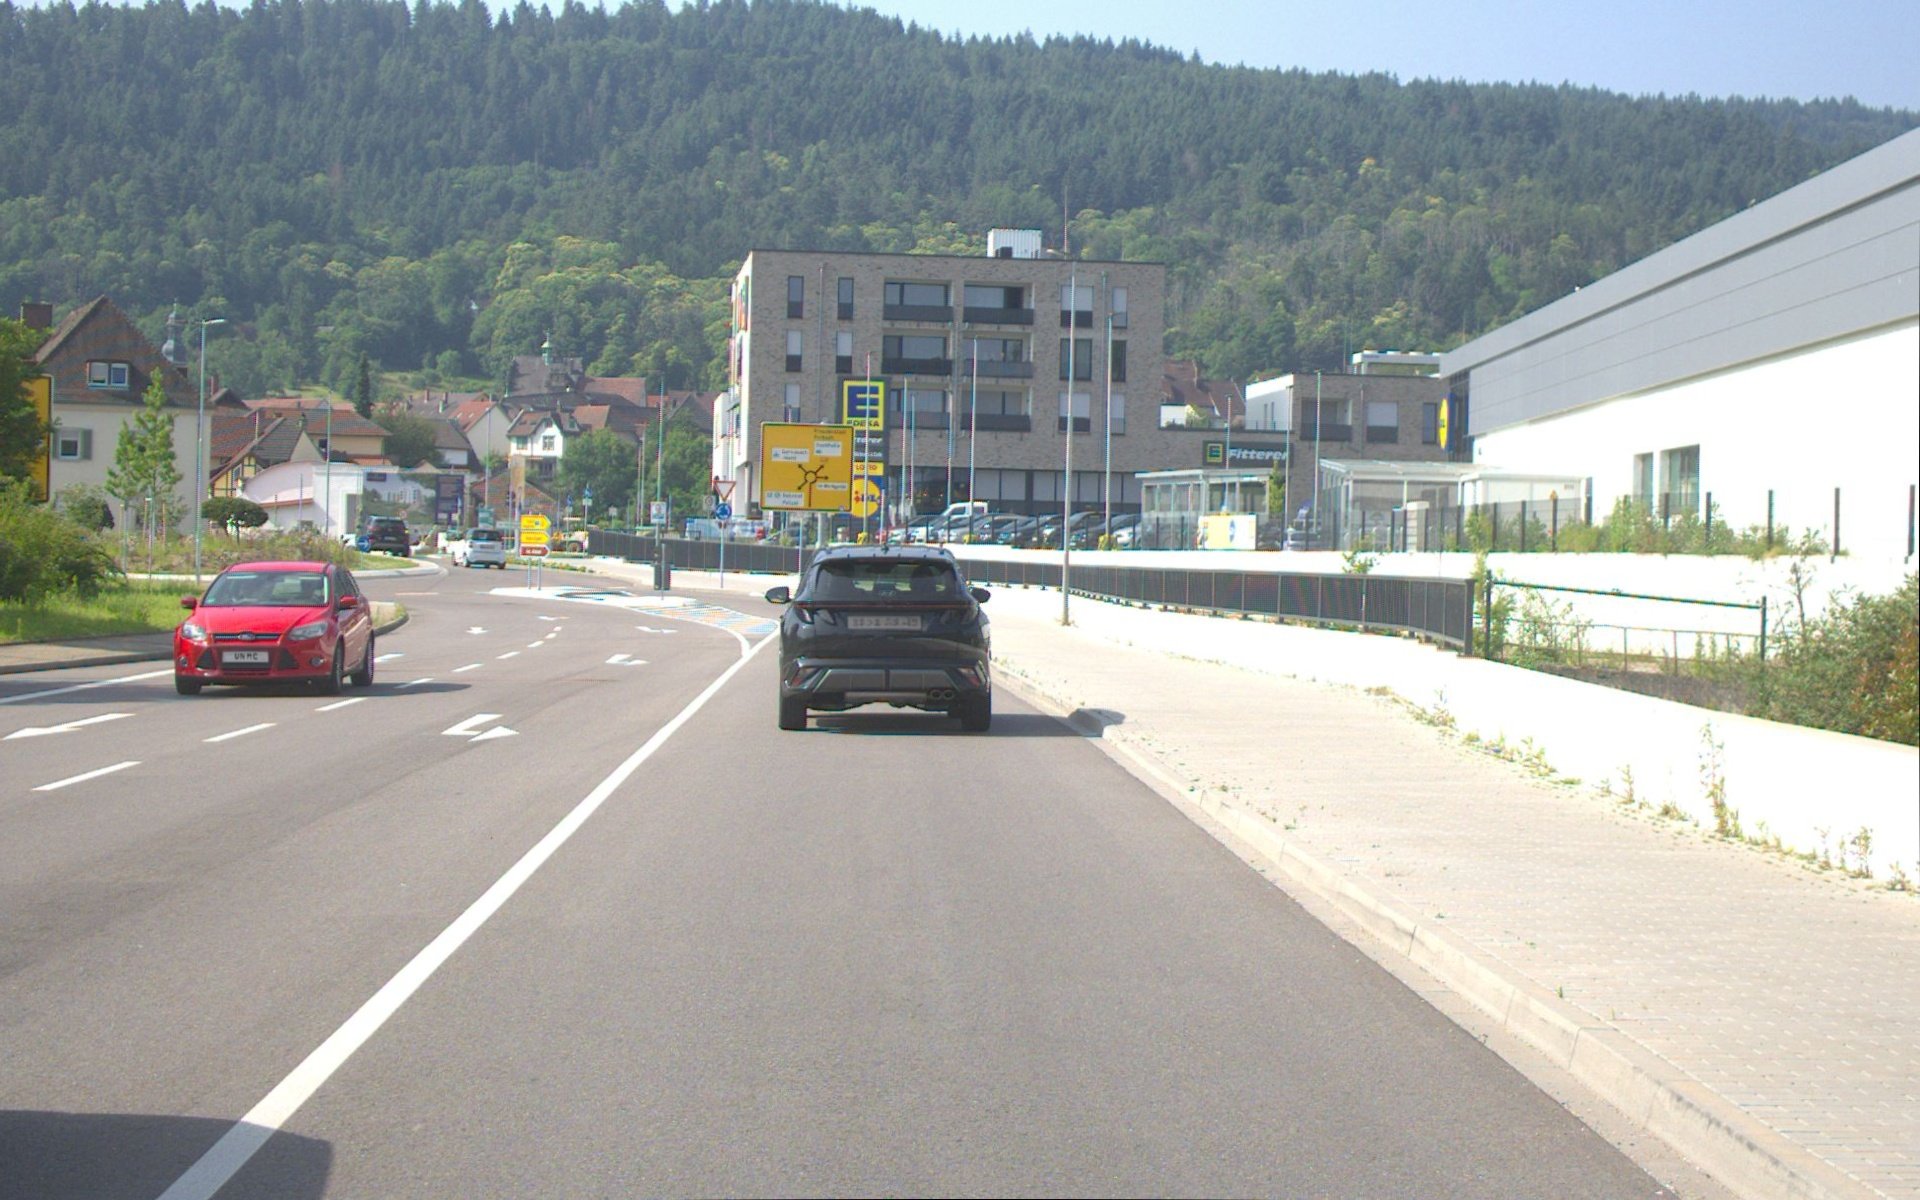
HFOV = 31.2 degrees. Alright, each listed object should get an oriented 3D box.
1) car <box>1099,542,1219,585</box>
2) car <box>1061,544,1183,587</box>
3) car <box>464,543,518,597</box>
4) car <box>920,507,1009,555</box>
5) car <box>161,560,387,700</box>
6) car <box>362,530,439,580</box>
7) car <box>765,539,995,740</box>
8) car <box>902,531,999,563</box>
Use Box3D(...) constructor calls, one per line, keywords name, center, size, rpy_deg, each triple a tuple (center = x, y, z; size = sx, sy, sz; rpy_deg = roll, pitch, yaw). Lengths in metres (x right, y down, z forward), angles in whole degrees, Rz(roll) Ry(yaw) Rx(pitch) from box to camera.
Box3D(name="car", center=(6.953, -1.268, 120.340), size=(3.804, 1.359, 1.681), rpy_deg=(2, 1, -20))
Box3D(name="car", center=(5.812, -1.245, 123.219), size=(4.060, 1.399, 1.486), rpy_deg=(2, 1, -20))
Box3D(name="car", center=(-18.200, -1.156, 133.417), size=(1.993, 2.007, 4.001), rpy_deg=(1, 0, -8))
Box3D(name="car", center=(0.206, -3.143, 156.799), size=(3.987, 2.128, 2.000), rpy_deg=(1, 0, 1))
Box3D(name="car", center=(-7.780, 0.314, 39.369), size=(1.837, 1.487, 4.432), rpy_deg=(1, 0, -2))
Box3D(name="car", center=(-23.711, -1.892, 145.797), size=(1.994, 2.007, 3.998), rpy_deg=(1, 0, 10))
Box3D(name="car", center=(-0.662, 0.330, 31.360), size=(1.881, 1.678, 4.000), rpy_deg=(1, 0, 1))
Box3D(name="car", center=(-0.401, -2.169, 140.915), size=(3.554, 1.195, 1.715), rpy_deg=(2, 1, -20))
